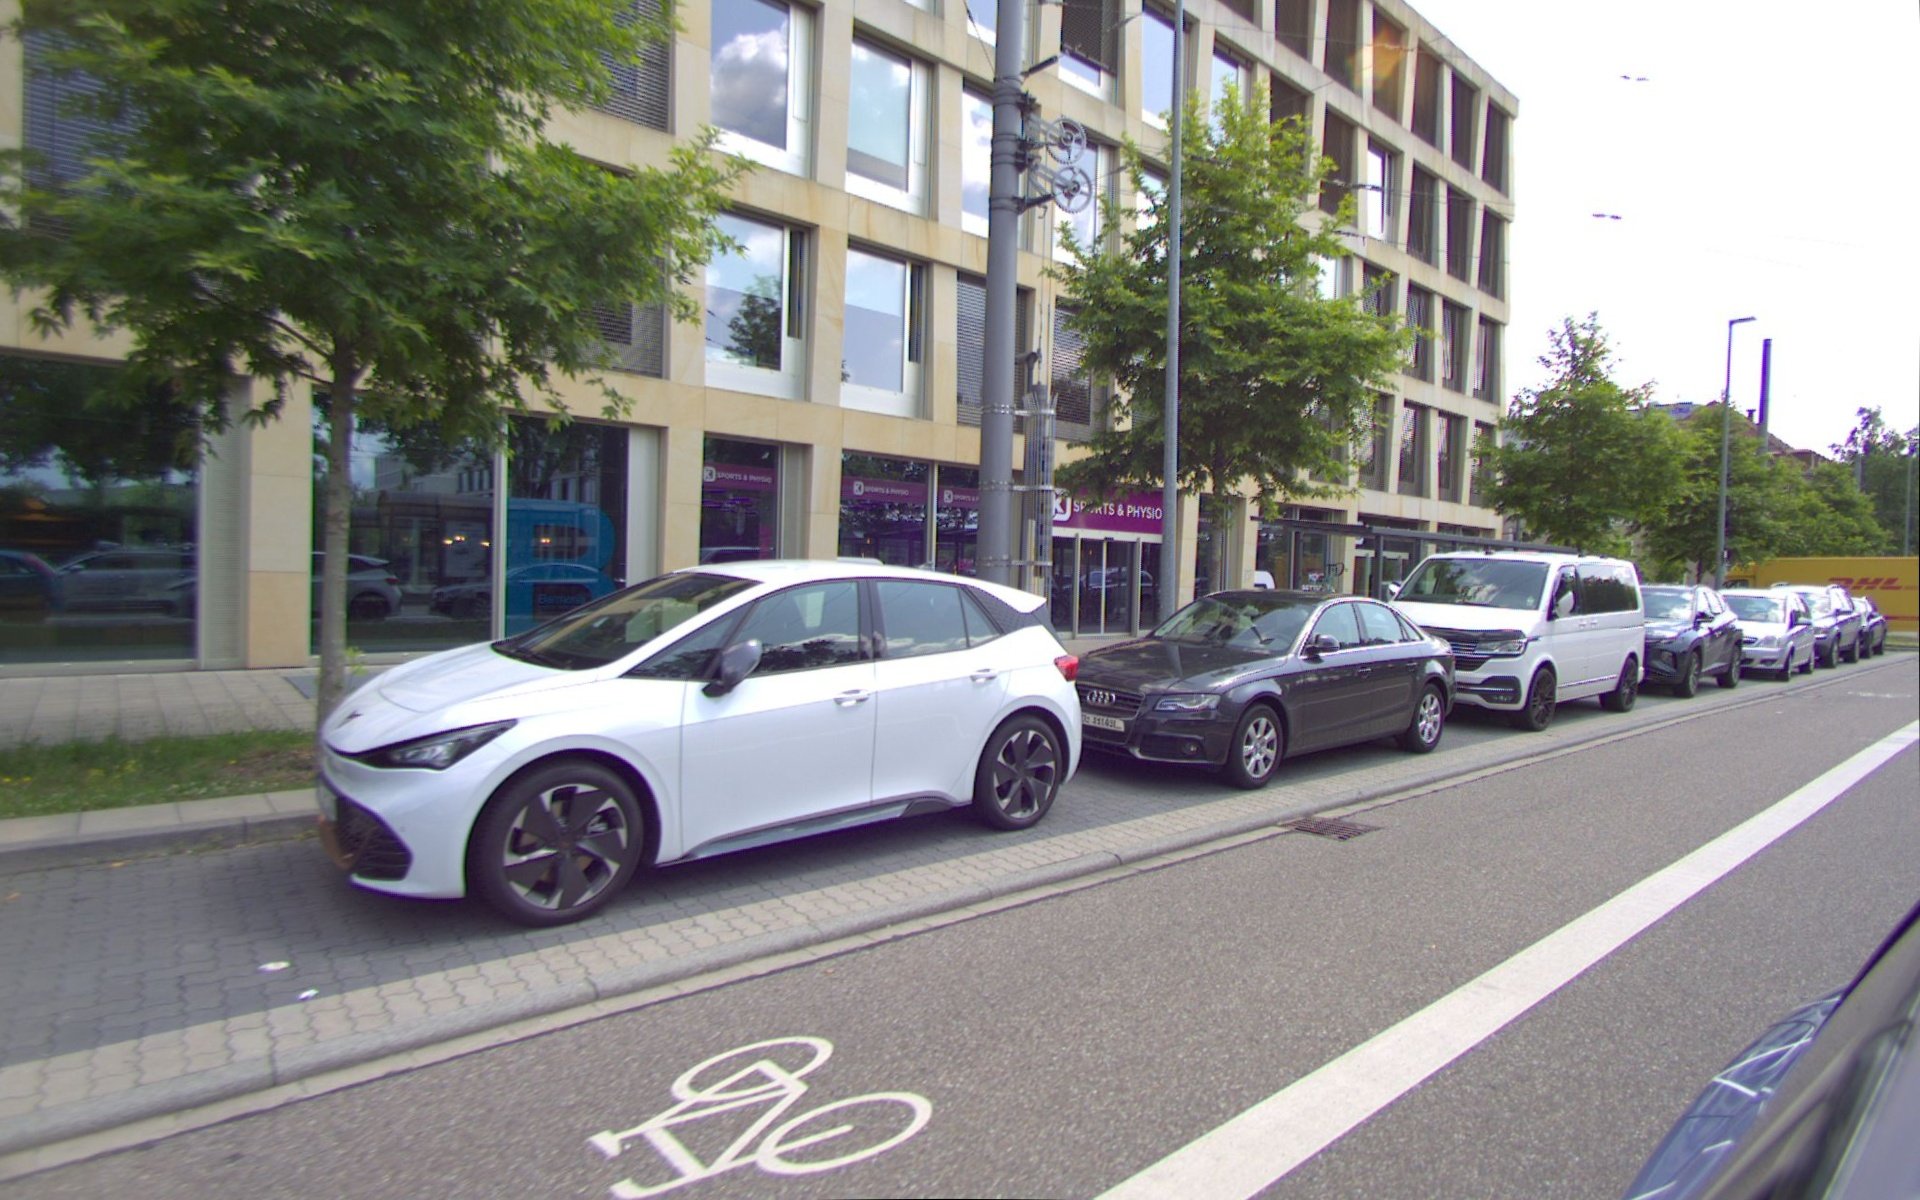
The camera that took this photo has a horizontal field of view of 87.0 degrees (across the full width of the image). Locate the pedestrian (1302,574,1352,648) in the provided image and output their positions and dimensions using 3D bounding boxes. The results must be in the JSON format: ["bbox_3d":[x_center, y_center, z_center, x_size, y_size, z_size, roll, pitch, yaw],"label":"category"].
[{"bbox_3d":[8.078,0.224,22.266,0.889,1.570,0.638,0,2,-41],"label":"pedestrian"}]

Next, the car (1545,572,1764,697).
[{"bbox_3d":[11.121,0.452,16.086,4.448,1.660,1.725,0,4,-41],"label":"car"}]

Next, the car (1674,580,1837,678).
[{"bbox_3d":[15.253,0.481,19.335,3.792,1.640,1.724,0,2,-41],"label":"car"}]

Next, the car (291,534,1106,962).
[{"bbox_3d":[-1.227,0.494,5.724,4.086,1.548,1.797,0,4,-41],"label":"car"}]

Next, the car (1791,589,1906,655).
[{"bbox_3d":[23.240,0.514,26.419,3.997,1.523,1.695,0,2,-41],"label":"car"}]

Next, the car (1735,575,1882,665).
[{"bbox_3d":[19.253,0.384,22.897,4.755,1.789,1.772,0,2,-41],"label":"car"}]

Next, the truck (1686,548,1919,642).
[{"bbox_3d":[29.068,-0.262,34.315,2.413,2.902,6.817,-1,3,-42],"label":"truck"}]

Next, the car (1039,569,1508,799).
[{"bbox_3d":[2.969,0.540,9.049,4.483,1.505,1.886,0,3,-41],"label":"car"}]

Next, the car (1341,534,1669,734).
[{"bbox_3d":[6.788,0.284,12.356,4.758,1.962,1.886,0,3,-41],"label":"car"}]
